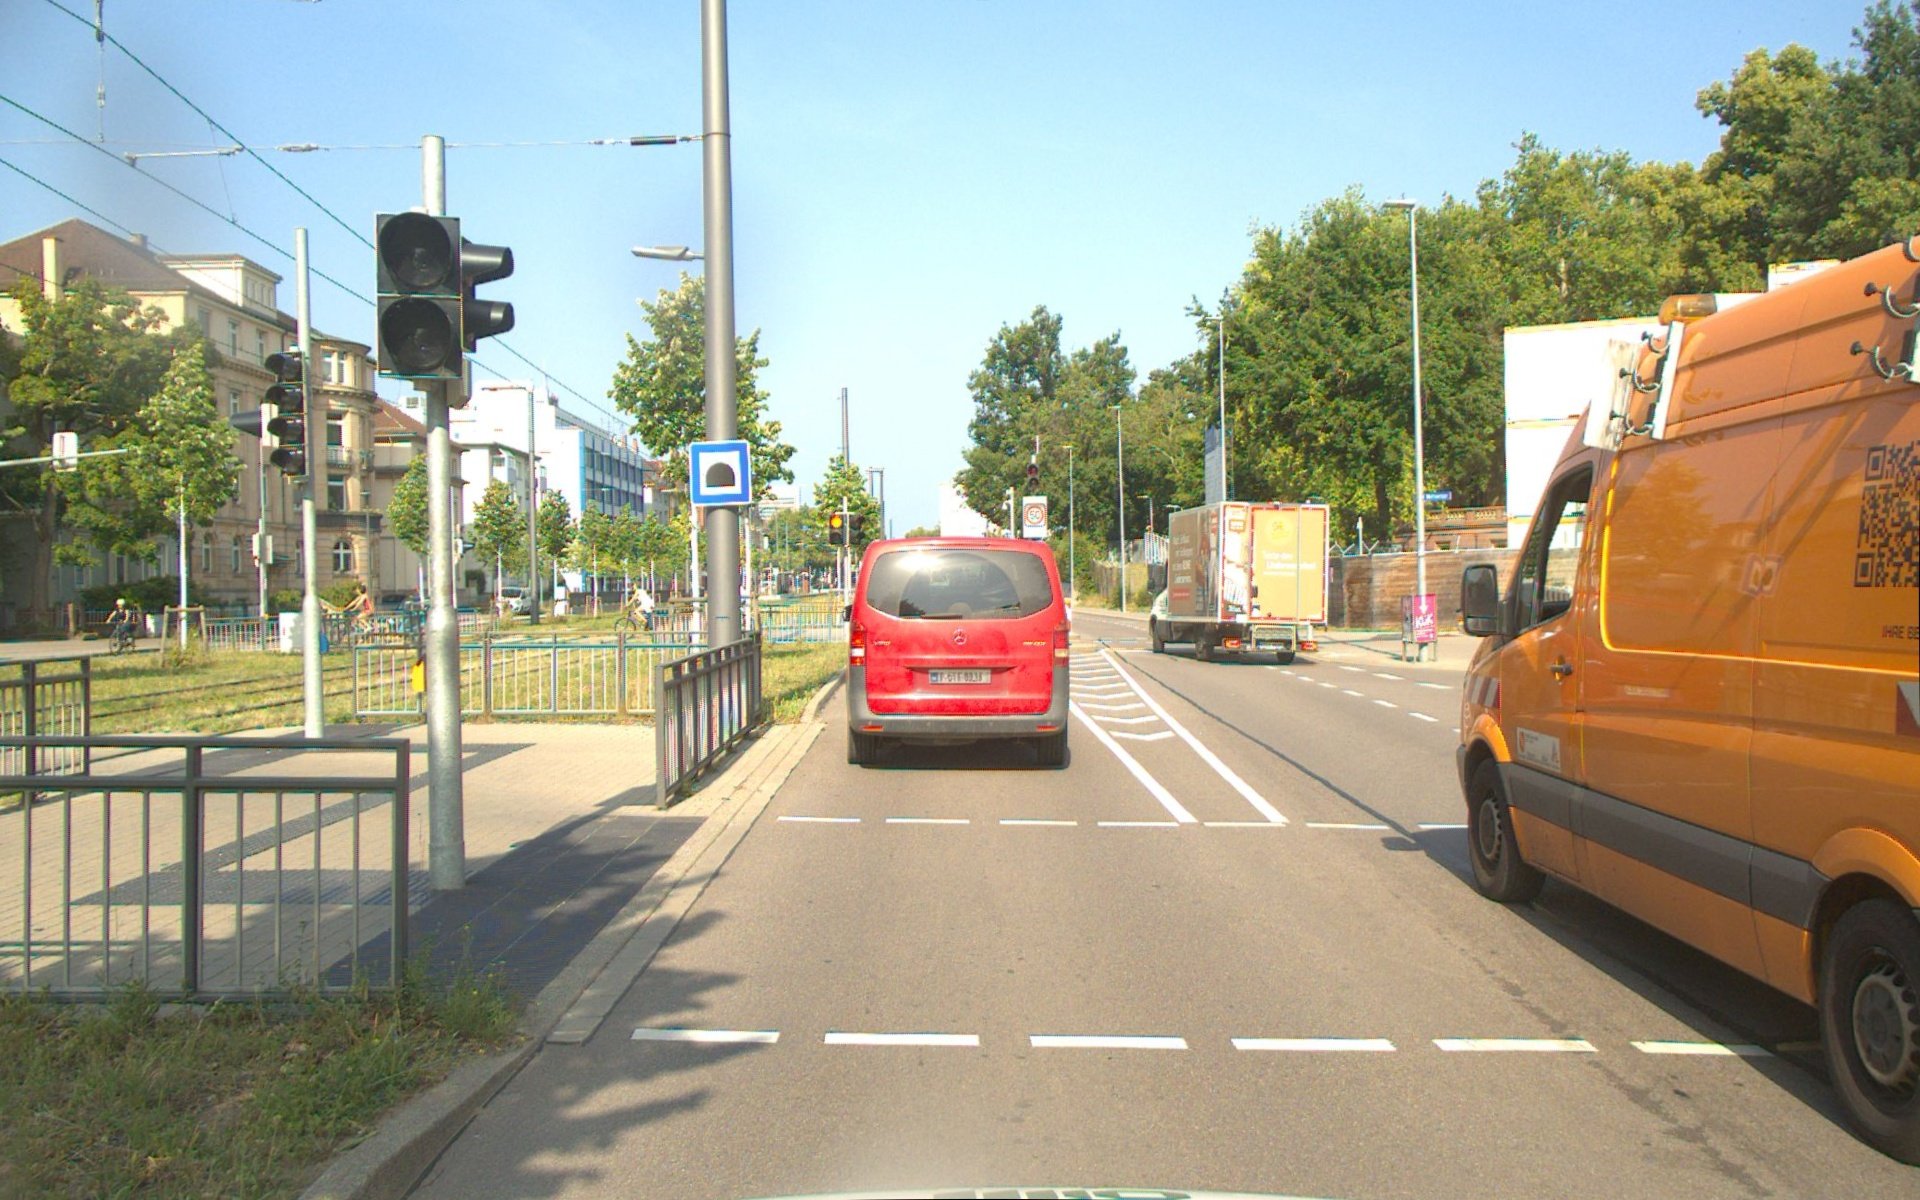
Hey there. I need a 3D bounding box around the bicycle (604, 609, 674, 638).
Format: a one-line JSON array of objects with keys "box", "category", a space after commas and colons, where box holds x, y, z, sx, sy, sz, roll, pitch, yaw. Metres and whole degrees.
[{"box": [-9.511, 0.686, 49.029, 1.956, 0.807, 0.629, -1, 0, -3], "category": "bicycle"}]

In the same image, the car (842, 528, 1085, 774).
[{"box": [0.028, 0.383, 14.884, 1.862, 1.892, 4.000, 1, 0, 0], "category": "car"}]

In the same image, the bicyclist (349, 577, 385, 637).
[{"box": [-16.716, 0.203, 46.668, 0.876, 1.657, 0.888, -1, 0, -17], "category": "bicyclist"}]

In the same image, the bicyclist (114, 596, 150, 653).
[{"box": [-26.936, 0.787, 53.820, 0.656, 1.837, 1.082, -1, 0, -6], "category": "bicyclist"}]

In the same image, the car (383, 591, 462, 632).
[{"box": [-21.553, 0.436, 66.490, 1.954, 1.539, 4.395, -1, 0, -3], "category": "car"}]

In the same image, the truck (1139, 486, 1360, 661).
[{"box": [5.687, -0.477, 33.901, 2.453, 3.114, 7.811, 1, 0, -5], "category": "truck"}]

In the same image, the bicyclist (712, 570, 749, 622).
[{"box": [-6.593, -0.119, 47.544, 0.672, 1.465, 0.805, 1, 0, 27], "category": "bicyclist"}]

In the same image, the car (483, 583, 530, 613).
[{"box": [-33.494, -0.114, 122.212, 2.204, 2.049, 5.259, 1, -1, -3], "category": "car"}]

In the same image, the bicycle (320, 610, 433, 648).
[{"box": [-16.461, 0.819, 46.764, 2.939, 0.982, 0.896, -1, 0, -17], "category": "bicycle"}]

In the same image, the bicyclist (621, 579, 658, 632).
[{"box": [-9.503, 0.161, 49.025, 0.964, 1.526, 0.620, -1, 0, -3], "category": "bicyclist"}]

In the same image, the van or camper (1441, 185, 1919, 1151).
[{"box": [3.515, 0.161, 5.875, 1.945, 2.515, 6.063, 1, 1, 1], "category": "van or camper"}]

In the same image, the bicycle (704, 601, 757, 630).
[{"box": [-6.595, 0.433, 47.551, 0.704, 0.812, 1.602, 1, 0, 26], "category": "bicycle"}]

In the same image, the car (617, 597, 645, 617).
[{"box": [-30.744, 0.628, 154.660, 1.879, 1.844, 3.999, 1, 0, -1], "category": "car"}]

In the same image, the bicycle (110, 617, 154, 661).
[{"box": [-26.929, 1.244, 53.796, 0.681, 1.369, 1.755, -1, 0, -6], "category": "bicycle"}]
